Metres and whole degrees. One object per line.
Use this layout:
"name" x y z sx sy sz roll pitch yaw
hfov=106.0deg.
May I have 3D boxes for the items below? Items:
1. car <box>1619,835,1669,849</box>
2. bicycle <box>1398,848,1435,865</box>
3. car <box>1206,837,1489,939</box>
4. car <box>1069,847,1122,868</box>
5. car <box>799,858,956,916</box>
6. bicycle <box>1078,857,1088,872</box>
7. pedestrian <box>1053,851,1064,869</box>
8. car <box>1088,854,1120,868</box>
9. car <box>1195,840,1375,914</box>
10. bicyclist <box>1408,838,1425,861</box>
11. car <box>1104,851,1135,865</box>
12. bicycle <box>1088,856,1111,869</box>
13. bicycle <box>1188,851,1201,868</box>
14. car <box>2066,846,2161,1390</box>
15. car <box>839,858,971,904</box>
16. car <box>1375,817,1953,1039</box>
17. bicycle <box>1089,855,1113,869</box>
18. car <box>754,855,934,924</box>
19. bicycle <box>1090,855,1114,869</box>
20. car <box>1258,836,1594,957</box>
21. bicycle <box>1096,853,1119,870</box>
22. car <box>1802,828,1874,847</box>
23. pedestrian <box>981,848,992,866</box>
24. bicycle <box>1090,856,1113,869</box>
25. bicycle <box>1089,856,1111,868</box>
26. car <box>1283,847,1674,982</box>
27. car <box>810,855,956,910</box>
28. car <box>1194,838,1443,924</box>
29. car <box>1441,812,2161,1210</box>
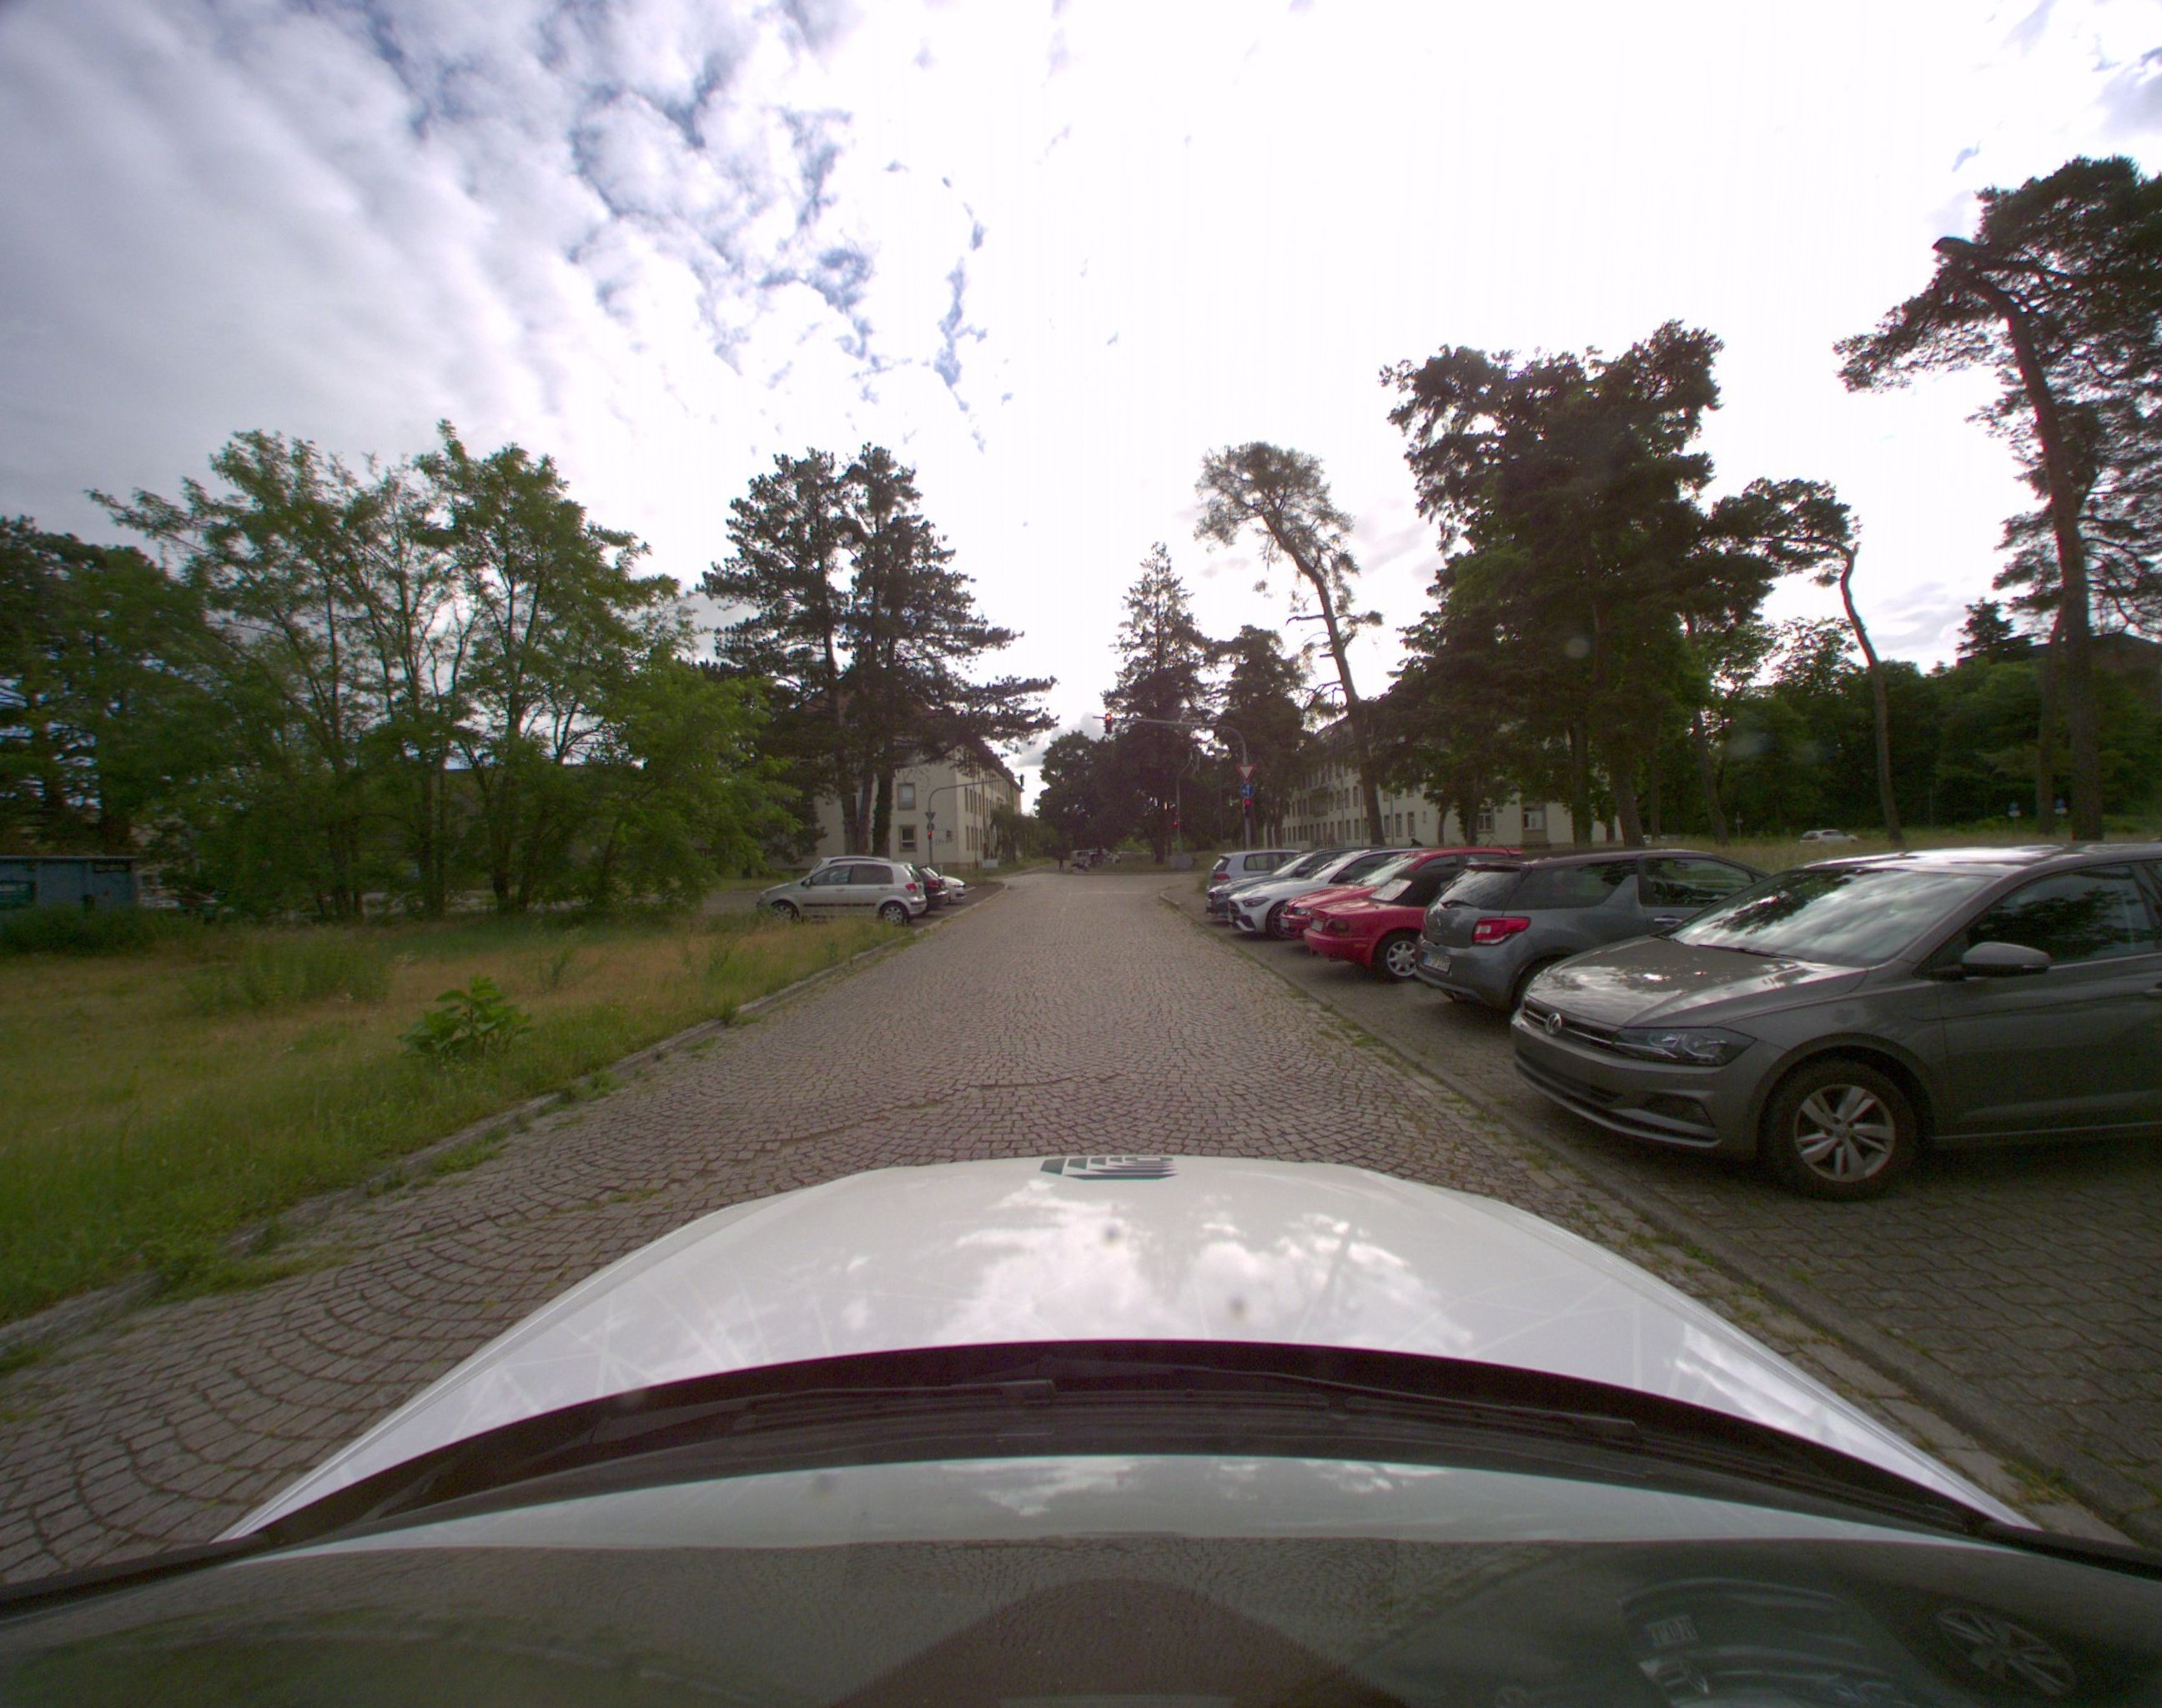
"car" 57.215 -1.208 82.831 3.931 1.421 1.651 1 0 2
"bicycle" 20.534 0.150 49.848 1.949 1.024 0.605 -2 0 -1
"car" 4.684 0.554 14.615 4.421 1.416 1.865 -4 0 -9
"car" 1.520 0.348 86.660 5.359 1.925 2.019 -3 0 -9
"car" -5.284 0.847 21.490 3.737 1.428 1.581 1 0 -3
"bicycle" 0.176 0.843 65.372 0.602 1.132 1.958 -2 0 -5
"pedestrian" -2.072 0.568 75.421 0.742 1.618 0.770 -2 0 -25
"car" 2.347 0.683 83.295 3.002 1.268 1.532 -2 0 -6
"car" 4.856 0.528 19.754 3.912 1.477 1.643 -4 0 1
"bicyclist" 20.518 -0.268 49.852 0.747 1.410 0.605 -2 0 -1
"car" 4.276 0.460 90.555 3.224 1.416 1.723 -2 0 -3
"bicycle" 1.640 0.744 70.693 1.967 1.069 0.582 -2 0 -30
"bicycle" 7.890 0.358 56.502 0.584 1.106 1.961 -2 0 0
"car" 4.803 0.609 1.462 3.848 1.472 1.758 -4 0 1
"car" -5.722 0.857 26.808 3.936 1.421 1.650 1 0 -1
"car" 4.885 0.567 7.237 3.851 1.472 1.757 -4 0 -1
"bicycle" 1.737 0.716 69.210 1.953 1.117 0.586 -2 0 -7
"car" -5.398 0.792 18.892 3.694 1.479 1.581 1 0 -3
"bicycle" 1.795 0.691 68.577 1.953 1.132 0.586 -2 0 -7
"car" 5.042 0.595 12.349 4.248 1.416 1.871 -4 0 -1
"bicycle" 2.278 0.619 70.044 1.953 1.384 0.586 -2 0 -7
"car" 58.020 -1.248 62.453 3.931 1.421 1.651 1 0 2
"pedestrian" -9.767 0.288 84.254 0.779 1.837 0.733 -2 0 -31
"bicycle" 1.800 0.741 72.044 1.967 1.069 0.582 -2 0 -30
"bicycle" 1.743 0.730 75.729 1.964 1.069 0.583 -2 0 -25
"car" 4.614 0.661 9.862 3.851 1.236 1.757 -4 0 -1
"car" -5.827 0.824 24.272 3.938 1.563 1.648 1 0 -3
"car" 4.916 0.537 17.303 4.669 1.416 1.869 -4 0 -3
"car" 4.269 0.623 4.362 3.853 1.472 1.756 -4 0 -3
